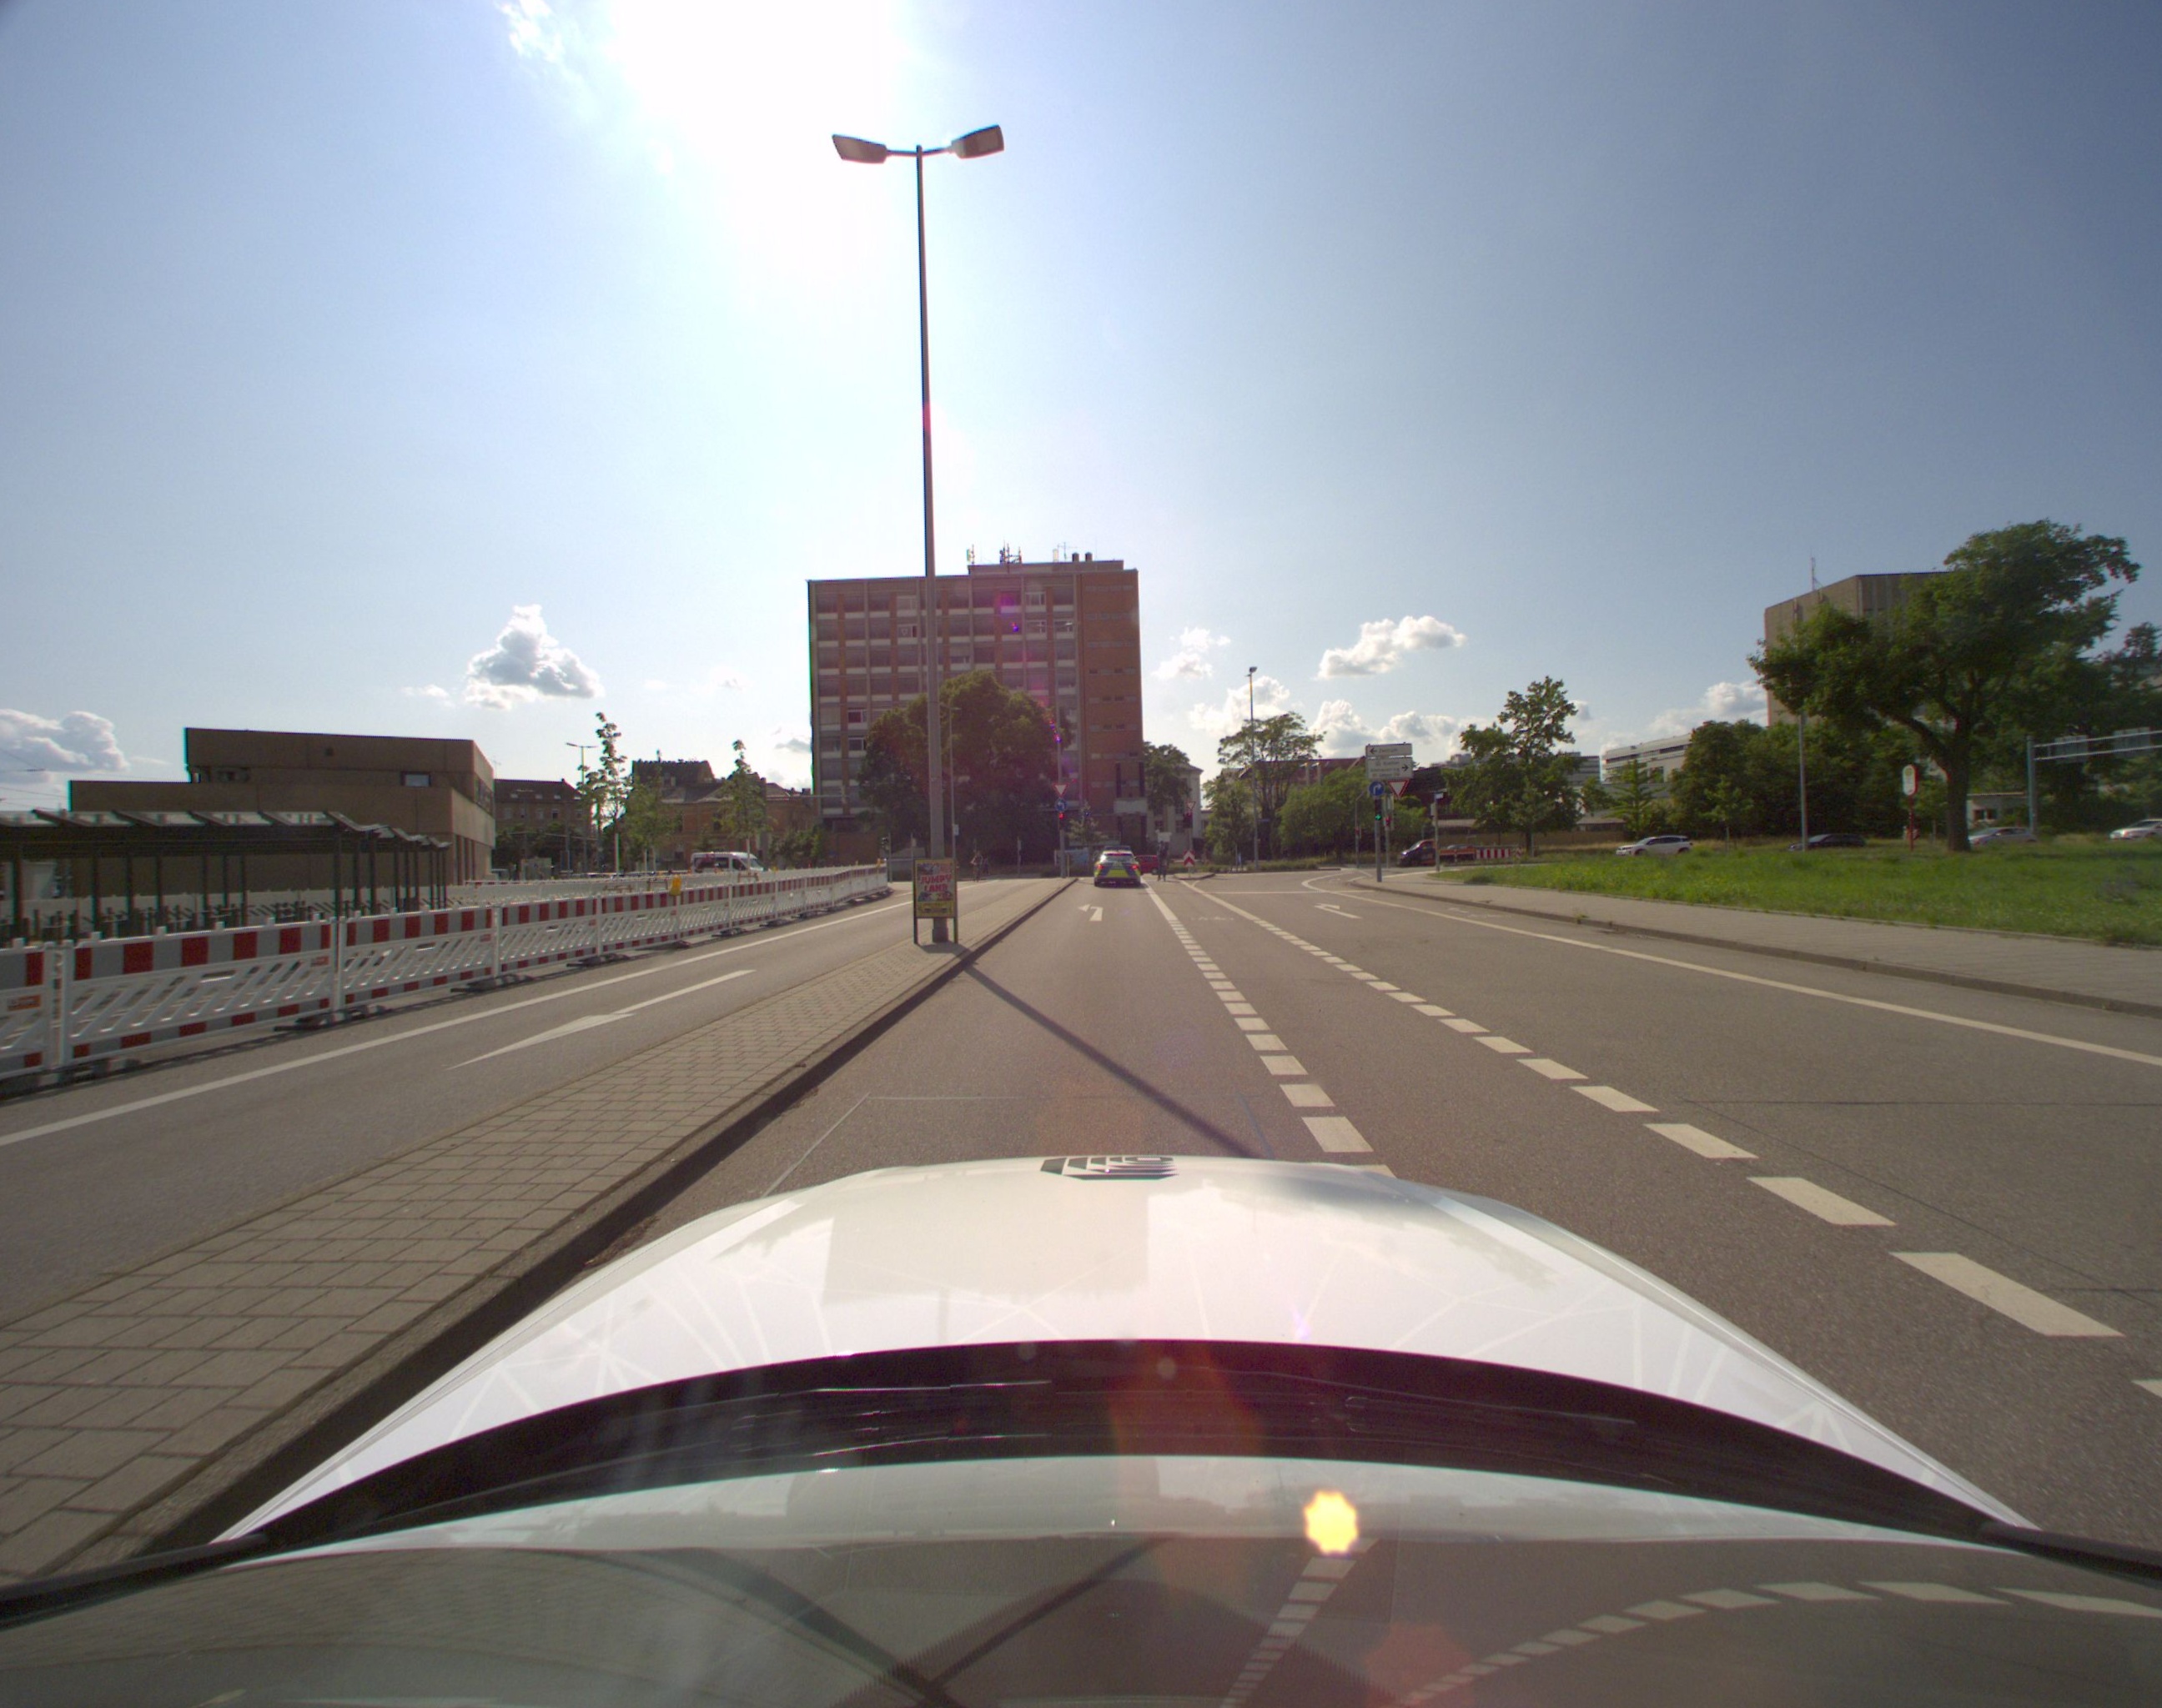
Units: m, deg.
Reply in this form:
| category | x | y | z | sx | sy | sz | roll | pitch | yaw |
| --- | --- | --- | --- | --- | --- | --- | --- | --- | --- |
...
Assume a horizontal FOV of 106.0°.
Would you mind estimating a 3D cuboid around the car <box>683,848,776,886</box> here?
| category | x | y | z | sx | sy | sz | roll | pitch | yaw |
| --- | --- | --- | --- | --- | --- | --- | --- | --- | --- |
| car | -23.554 | 0.892 | 54.596 | 5.523 | 2.319 | 2.314 | -2 | 0 | 21 |

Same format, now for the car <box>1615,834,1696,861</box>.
| category | x | y | z | sx | sy | sz | roll | pitch | yaw |
| --- | --- | --- | --- | --- | --- | --- | --- | --- | --- |
| car | 38.340 | -0.442 | 54.401 | 4.131 | 1.609 | 1.629 | -2 | 0 | 5 |

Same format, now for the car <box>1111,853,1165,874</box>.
| category | x | y | z | sx | sy | sz | roll | pitch | yaw |
| --- | --- | --- | --- | --- | --- | --- | --- | --- | --- |
| car | 4.251 | 0.703 | 60.577 | 3.697 | 1.456 | 1.632 | -2 | 0 | 14 |

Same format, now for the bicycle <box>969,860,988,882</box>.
| category | x | y | z | sx | sy | sz | roll | pitch | yaw |
| --- | --- | --- | --- | --- | --- | --- | --- | --- | --- |
| bicycle | -5.683 | 0.951 | 45.405 | 0.631 | 1.084 | 2.193 | -2 | 1 | 3 |

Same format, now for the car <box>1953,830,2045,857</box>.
| category | x | y | z | sx | sy | sz | roll | pitch | yaw |
| --- | --- | --- | --- | --- | --- | --- | --- | --- | --- |
| car | 59.575 | -0.673 | 52.905 | 3.891 | 1.609 | 1.629 | -2 | 0 | 6 |

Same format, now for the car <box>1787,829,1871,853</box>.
| category | x | y | z | sx | sy | sz | roll | pitch | yaw |
| --- | --- | --- | --- | --- | --- | --- | --- | --- | --- |
| car | 49.209 | -0.837 | 53.641 | 3.892 | 1.419 | 1.629 | -2 | 0 | 5 |

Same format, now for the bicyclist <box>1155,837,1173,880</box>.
| category | x | y | z | sx | sy | sz | roll | pitch | yaw |
| --- | --- | --- | --- | --- | --- | --- | --- | --- | --- |
| bicyclist | 3.829 | 0.200 | 37.772 | 0.715 | 1.973 | 0.840 | -2 | 1 | 2 |

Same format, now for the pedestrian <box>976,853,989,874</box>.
| category | x | y | z | sx | sy | sz | roll | pitch | yaw |
| --- | --- | --- | --- | --- | --- | --- | --- | --- | --- |
| pedestrian | -8.964 | 0.862 | 73.985 | 0.939 | 1.883 | 0.910 | -2 | 0 | 5 |

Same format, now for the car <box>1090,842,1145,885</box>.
| category | x | y | z | sx | sy | sz | roll | pitch | yaw |
| --- | --- | --- | --- | --- | --- | --- | --- | --- | --- |
| car | 1.489 | 0.354 | 33.639 | 2.122 | 1.684 | 4.104 | 0 | 0 | 2 |

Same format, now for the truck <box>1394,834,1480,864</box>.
| category | x | y | z | sx | sy | sz | roll | pitch | yaw |
| --- | --- | --- | --- | --- | --- | --- | --- | --- | --- |
| truck | 24.573 | -0.345 | 56.358 | 5.084 | 1.838 | 2.006 | -2 | 0 | 10 |

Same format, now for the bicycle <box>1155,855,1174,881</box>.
| category | x | y | z | sx | sy | sz | roll | pitch | yaw |
| --- | --- | --- | --- | --- | --- | --- | --- | --- | --- |
| bicycle | 3.843 | 0.652 | 37.707 | 0.718 | 1.084 | 2.192 | -2 | 1 | 2 |

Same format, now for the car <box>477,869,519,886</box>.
| category | x | y | z | sx | sy | sz | roll | pitch | yaw |
| --- | --- | --- | --- | --- | --- | --- | --- | --- | --- |
| car | -63.292 | 2.518 | 88.396 | 3.690 | 1.691 | 2.065 | -2 | 0 | 23 |

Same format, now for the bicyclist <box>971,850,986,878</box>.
| category | x | y | z | sx | sy | sz | roll | pitch | yaw |
| --- | --- | --- | --- | --- | --- | --- | --- | --- | --- |
| bicyclist | -5.696 | 0.549 | 45.437 | 0.631 | 1.470 | 0.840 | -2 | 1 | 3 |

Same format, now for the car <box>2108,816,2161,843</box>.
| category | x | y | z | sx | sy | sz | roll | pitch | yaw |
| --- | --- | --- | --- | --- | --- | --- | --- | --- | --- |
| car | 69.090 | -1.599 | 52.261 | 3.989 | 1.609 | 1.629 | -2 | 0 | 5 |
